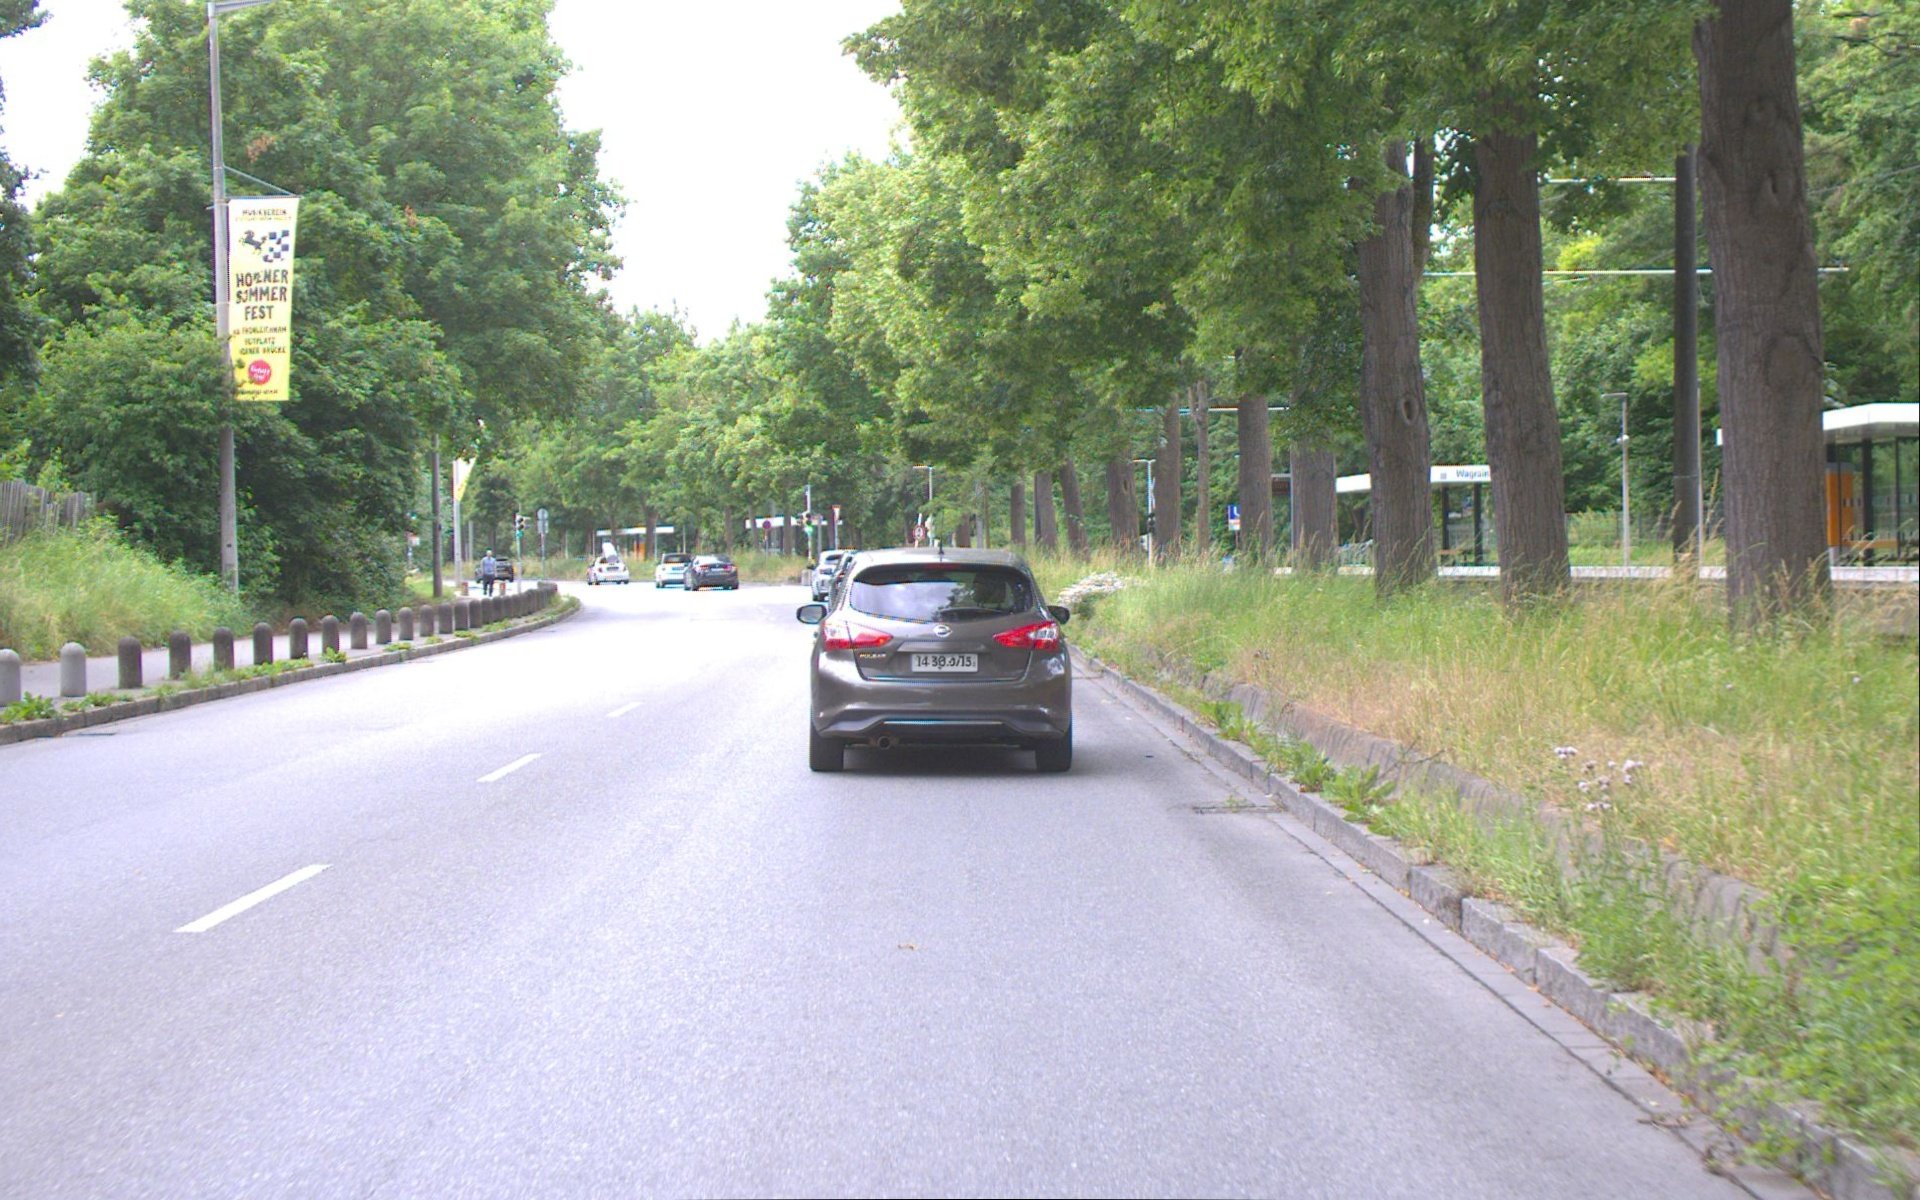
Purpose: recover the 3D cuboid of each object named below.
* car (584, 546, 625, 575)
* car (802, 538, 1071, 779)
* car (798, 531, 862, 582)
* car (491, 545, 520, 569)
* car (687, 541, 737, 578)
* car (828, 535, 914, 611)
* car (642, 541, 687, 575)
[{"bbox_3d":[-18.269,-2.046,176.527,1.561,1.436,3.553,0,1,-15],"label":"car"},{"bbox_3d":[-0.196,0.347,24.042,1.730,1.532,3.552,1,1,-1],"label":"car"},{"bbox_3d":[-3.805,-1.286,100.474,1.561,1.436,3.553,0,1,-7],"label":"car"},{"bbox_3d":[-27.767,-2.644,210.056,1.561,1.436,3.553,0,1,-11],"label":"car"},{"bbox_3d":[-10.050,-1.655,139.027,1.561,1.436,3.553,0,1,-12],"label":"car"},{"bbox_3d":[-1.851,-0.582,71.785,1.730,1.532,3.552,1,1,-1],"label":"car"},{"bbox_3d":[-13.254,-1.889,154.069,1.561,1.436,3.553,0,1,-12],"label":"car"}]
